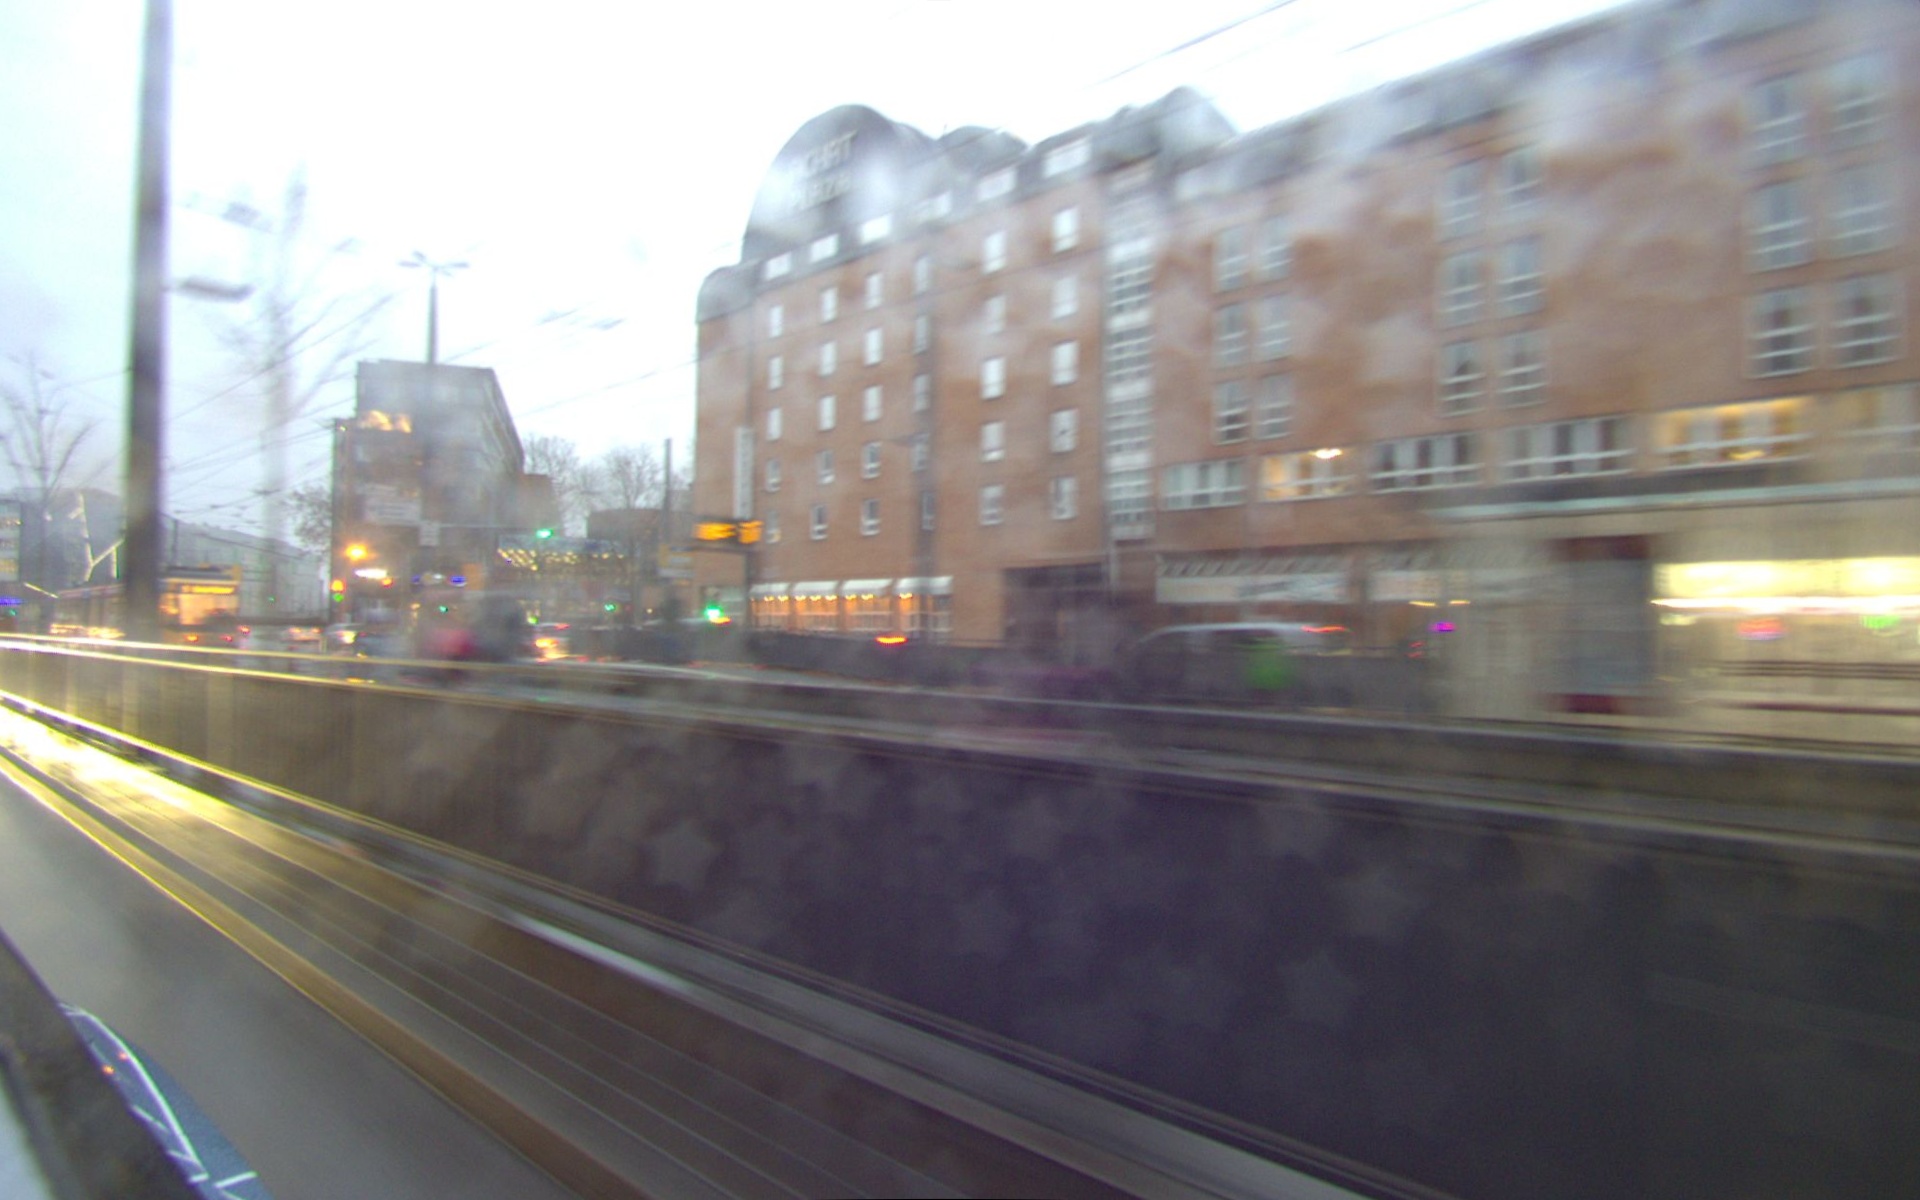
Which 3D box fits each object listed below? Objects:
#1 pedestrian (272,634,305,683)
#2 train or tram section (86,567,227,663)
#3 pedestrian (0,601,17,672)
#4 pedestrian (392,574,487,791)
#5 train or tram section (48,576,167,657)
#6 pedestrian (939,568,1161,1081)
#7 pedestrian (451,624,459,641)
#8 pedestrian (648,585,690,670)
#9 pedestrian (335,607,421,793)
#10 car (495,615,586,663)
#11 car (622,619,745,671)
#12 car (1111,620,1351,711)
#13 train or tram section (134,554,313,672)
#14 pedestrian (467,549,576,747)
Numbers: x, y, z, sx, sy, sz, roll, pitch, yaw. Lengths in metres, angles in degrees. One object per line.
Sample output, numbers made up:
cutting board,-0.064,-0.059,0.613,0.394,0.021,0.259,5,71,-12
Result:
pedestrian,-16.543,1.433,24.935,0.490,1.161,0.573,-1,-1,43
train or tram section,-34.208,0.652,42.852,11.032,3.605,2.894,-1,-1,42
pedestrian,-27.009,1.033,28.592,0.472,1.982,0.429,-1,-2,36
pedestrian,-4.237,0.648,8.239,0.563,1.691,0.476,-1,-2,39
train or tram section,-42.880,0.836,50.694,12.251,3.616,2.919,-1,-1,42
pedestrian,0.341,0.755,3.797,0.643,1.705,0.534,-1,-2,39
pedestrian,-52.557,3.386,105.282,0.715,1.721,0.696,2,-3,-30
pedestrian,-6.618,0.628,23.026,0.782,1.901,0.885,0,-2,-7
pedestrian,-5.219,0.869,9.076,0.563,1.602,0.476,-1,-2,39
car,-14.168,1.271,34.102,3.323,1.528,1.502,-1,-1,41
car,-7.823,1.214,28.566,3.544,1.364,1.664,-1,-1,41
car,4.580,1.042,17.311,3.544,1.364,1.801,-1,-1,41
train or tram section,-26.032,0.482,35.444,11.032,3.595,2.869,-1,-1,42
pedestrian,-3.724,0.395,8.597,0.621,1.602,0.612,-1,-2,39
